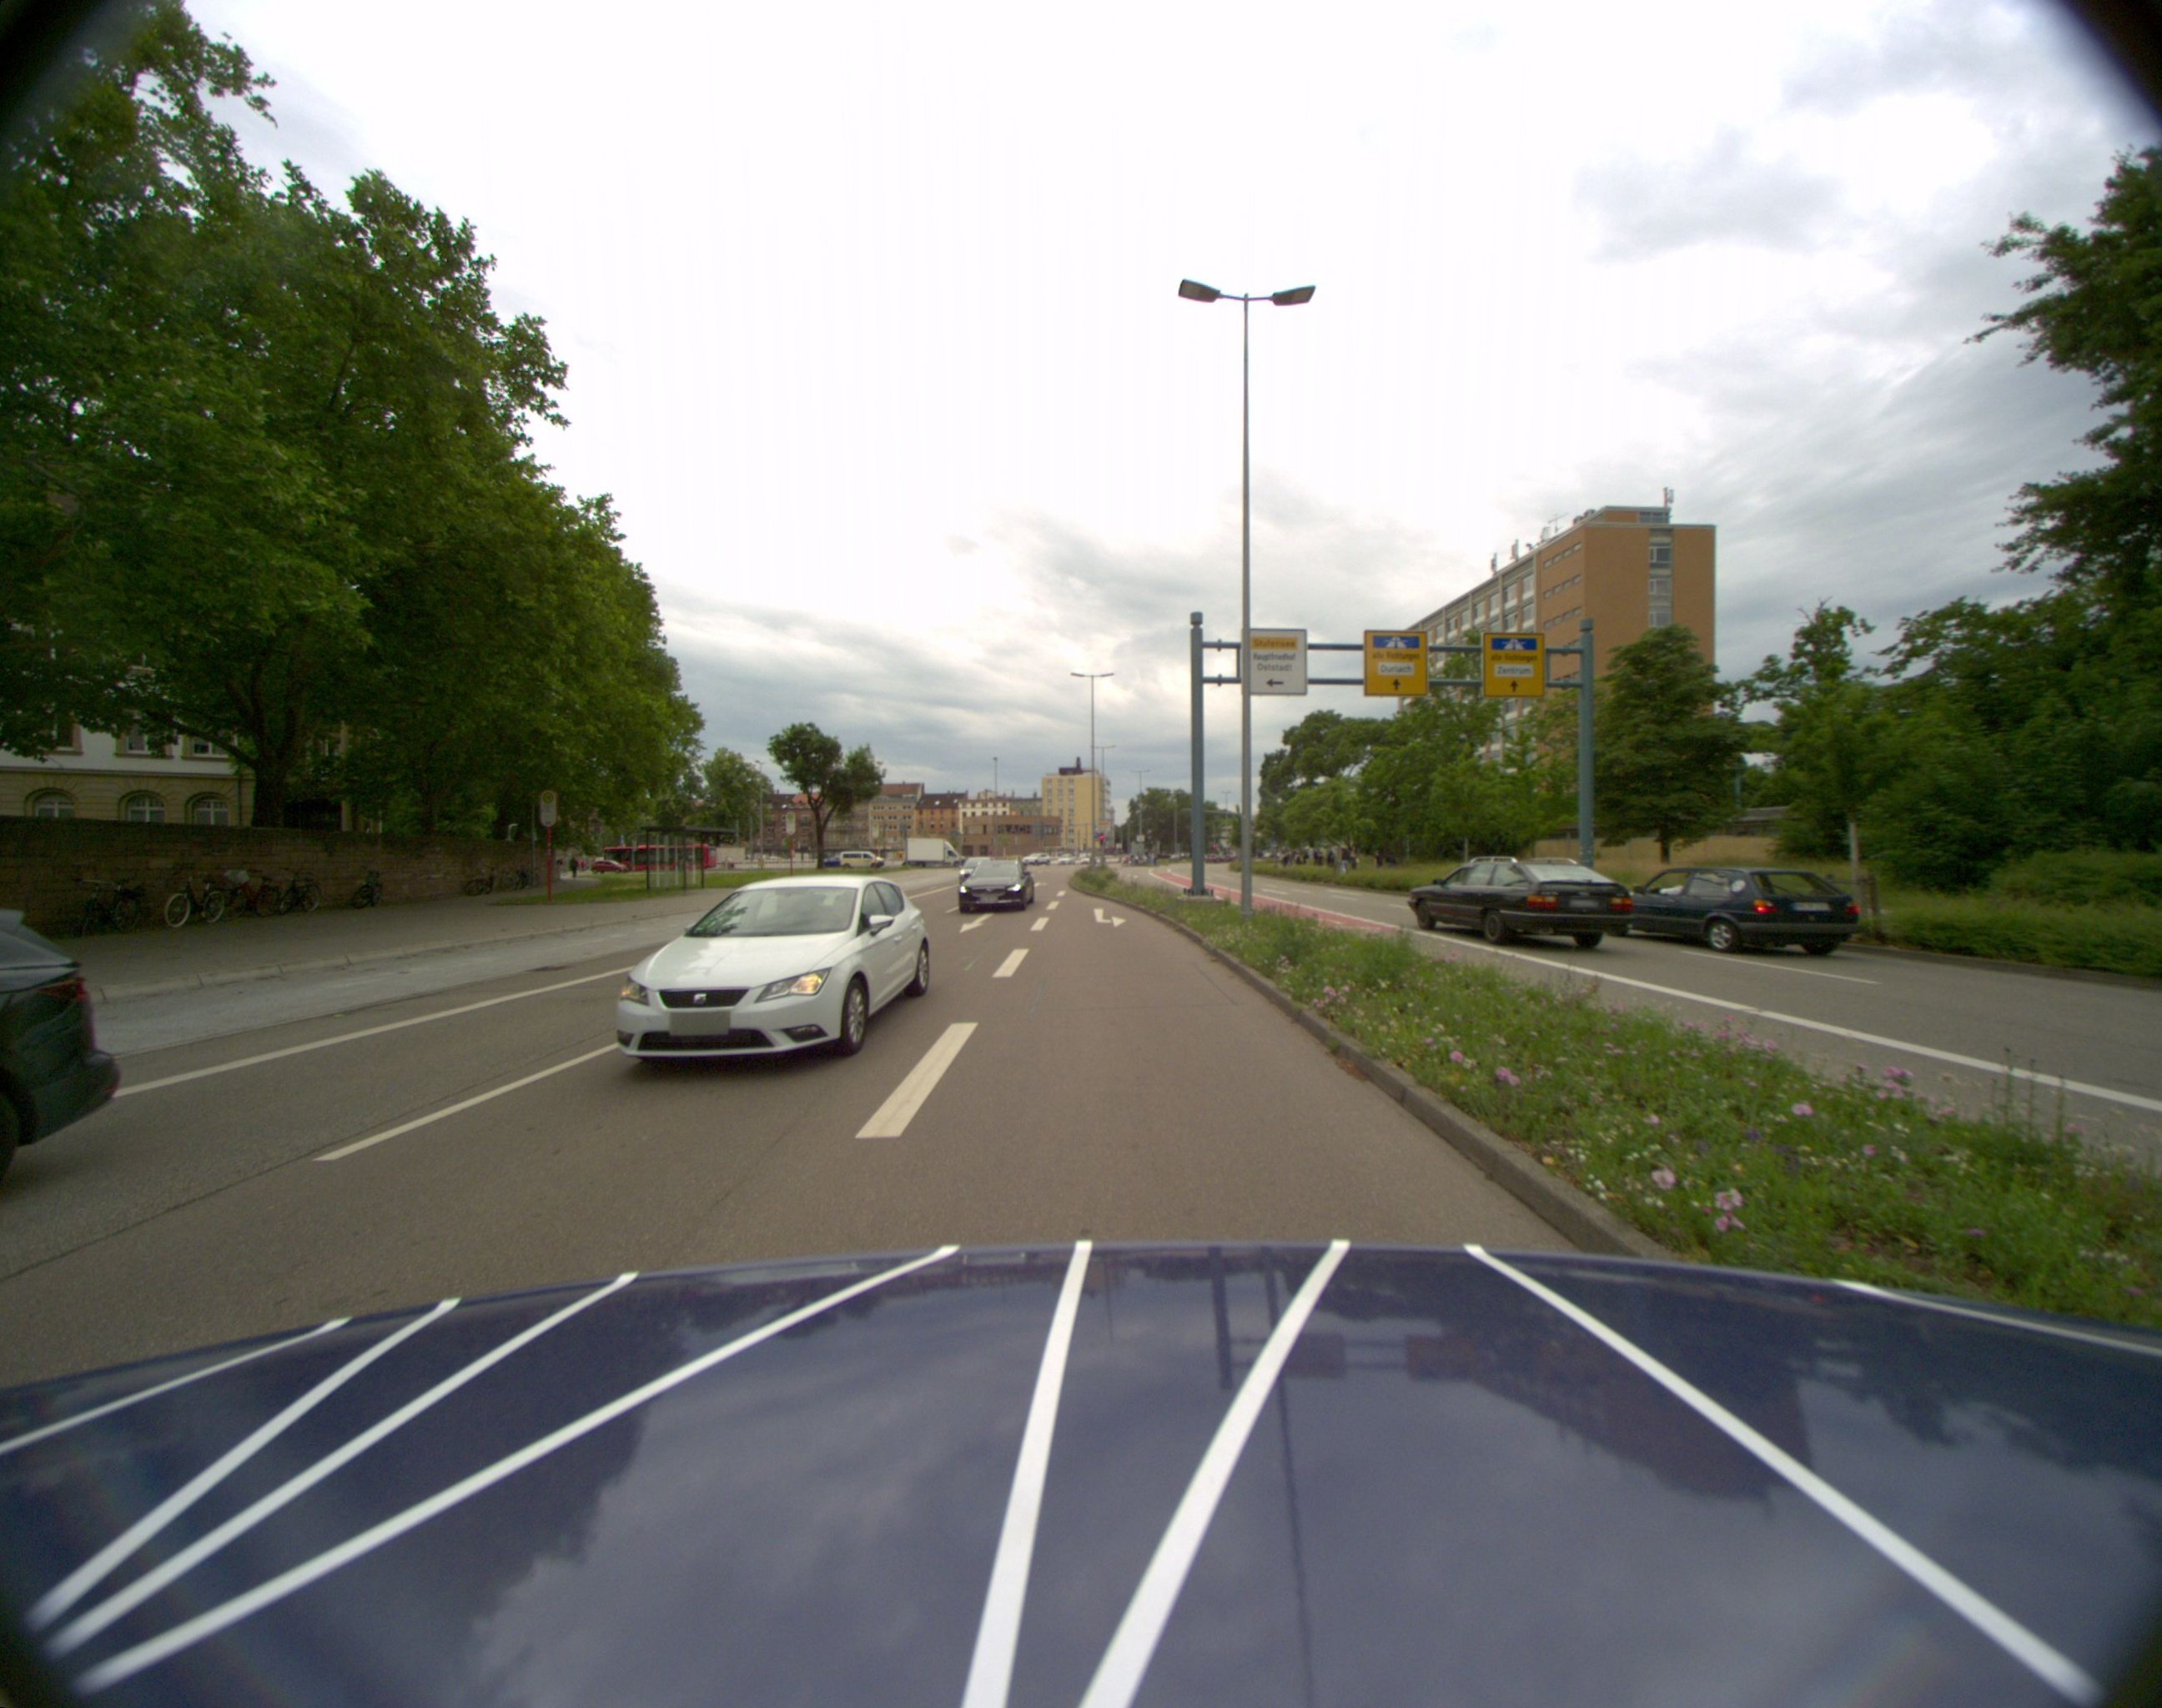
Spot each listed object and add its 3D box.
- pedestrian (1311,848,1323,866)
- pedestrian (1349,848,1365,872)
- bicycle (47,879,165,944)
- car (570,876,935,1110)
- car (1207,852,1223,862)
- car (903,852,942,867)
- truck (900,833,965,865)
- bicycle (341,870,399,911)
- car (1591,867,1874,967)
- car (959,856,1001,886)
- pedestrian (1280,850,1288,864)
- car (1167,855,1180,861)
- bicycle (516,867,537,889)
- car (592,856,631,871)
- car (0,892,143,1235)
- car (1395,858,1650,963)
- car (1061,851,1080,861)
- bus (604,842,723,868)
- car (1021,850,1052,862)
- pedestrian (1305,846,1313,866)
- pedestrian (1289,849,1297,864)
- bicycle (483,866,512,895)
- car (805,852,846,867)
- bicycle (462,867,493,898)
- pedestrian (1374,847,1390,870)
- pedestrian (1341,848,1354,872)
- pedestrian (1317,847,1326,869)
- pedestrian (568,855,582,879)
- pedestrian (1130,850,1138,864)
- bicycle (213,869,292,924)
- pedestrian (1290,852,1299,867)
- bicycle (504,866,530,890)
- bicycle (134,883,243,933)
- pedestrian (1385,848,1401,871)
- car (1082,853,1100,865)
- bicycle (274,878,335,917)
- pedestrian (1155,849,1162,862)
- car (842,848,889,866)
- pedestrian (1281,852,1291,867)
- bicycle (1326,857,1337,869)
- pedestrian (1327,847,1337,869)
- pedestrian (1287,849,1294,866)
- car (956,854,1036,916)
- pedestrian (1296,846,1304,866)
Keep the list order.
[{"bbox_3d":[21.499,0.288,69.190,0.635,1.603,0.829,-2,0,-21],"label":"pedestrian"},{"bbox_3d":[18.852,0.417,51.885,0.709,1.663,0.767,1,0,-5],"label":"pedestrian"},{"bbox_3d":[-18.445,1.057,14.429,0.722,1.093,1.788,1,0,-28],"label":"bicycle"},{"bbox_3d":[-2.663,1.032,7.252,1.786,1.454,3.870,-2,0,0],"label":"car"},{"bbox_3d":[22.953,0.460,130.162,1.812,1.657,3.955,1,1,23],"label":"car"},{"bbox_3d":[-18.473,0.608,88.946,4.285,1.628,1.689,1,0,-5],"label":"car"},{"bbox_3d":[-16.651,-0.583,85.650,6.852,3.393,2.559,-1,2,-5],"label":"truck"},{"bbox_3d":[-20.472,1.039,21.902,0.599,1.098,1.652,1,0,-19],"label":"bicycle"},{"bbox_3d":[10.813,0.955,13.027,1.612,1.373,3.808,1,0,1],"label":"car"},{"bbox_3d":[-5.257,0.857,39.892,1.671,1.457,3.659,-1,1,0],"label":"car"},{"bbox_3d":[23.305,0.329,87.045,0.708,1.661,0.943,-1,0,4],"label":"pedestrian"},{"bbox_3d":[19.233,0.786,157.830,1.782,1.255,3.536,-1,1,19],"label":"car"},{"bbox_3d":[-26.359,1.154,36.141,0.552,0.986,1.633,1,0,-28],"label":"bicycle"},{"bbox_3d":[-51.828,1.045,83.929,3.431,1.372,1.288,-1,-7,-5],"label":"car"},{"bbox_3d":[-6.156,1.066,1.932,1.912,1.615,4.490,-2,0,0],"label":"car"},{"bbox_3d":[7.556,0.852,13.705,1.768,1.452,4.791,1,1,0],"label":"car"},{"bbox_3d":[-1.487,0.304,106.426,1.515,1.382,3.437,1,0,19],"label":"car"},{"bbox_3d":[-48.778,0.112,88.999,12.091,2.891,2.937,-1,0,-3],"label":"bus"},{"bbox_3d":[-5.666,0.262,97.337,1.815,1.466,4.041,1,0,37],"label":"car"},{"bbox_3d":[19.800,0.147,66.034,0.579,1.702,0.763,1,0,16],"label":"pedestrian"},{"bbox_3d":[24.289,0.295,86.970,0.708,1.661,0.890,-2,0,4],"label":"pedestrian"},{"bbox_3d":[-24.160,1.078,31.492,0.596,1.123,1.709,1,0,-25],"label":"bicycle"},{"bbox_3d":[-30.158,0.624,89.776,4.432,1.735,1.763,1,0,-9],"label":"car"},{"bbox_3d":[-23.661,1.098,29.813,0.596,1.129,1.709,1,0,-25],"label":"bicycle"},{"bbox_3d":[17.846,0.286,45.009,0.646,1.350,0.711,1,0,-1],"label":"pedestrian"},{"bbox_3d":[18.155,0.403,51.805,0.587,1.650,0.720,1,0,-5],"label":"pedestrian"},{"bbox_3d":[18.022,0.292,57.004,0.575,1.599,0.617,1,0,16],"label":"pedestrian"},{"bbox_3d":[-36.710,0.912,55.163,0.759,1.725,0.820,1,1,-39],"label":"pedestrian"},{"bbox_3d":[6.918,0.349,99.759,0.917,1.794,0.541,1,0,17],"label":"pedestrian"},{"bbox_3d":[-19.574,0.973,17.992,0.501,1.214,1.624,1,0,-17],"label":"bicycle"},{"bbox_3d":[20.386,0.528,72.531,0.637,1.471,0.762,1,0,4],"label":"pedestrian"},{"bbox_3d":[-25.647,1.091,34.570,0.596,1.053,1.709,1,0,-25],"label":"bicycle"},{"bbox_3d":[-19.025,1.131,16.254,0.656,0.945,1.767,1,0,-17],"label":"bicycle"},{"bbox_3d":[18.512,0.307,45.100,0.646,1.354,0.680,1,0,-2],"label":"pedestrian"},{"bbox_3d":[1.570,0.719,117.601,1.836,1.753,3.916,1,0,17],"label":"car"},{"bbox_3d":[-20.084,1.110,19.677,0.417,0.937,1.523,1,0,-17],"label":"bicycle"},{"bbox_3d":[10.197,0.223,100.052,0.777,1.657,0.706,1,0,-8],"label":"pedestrian"},{"bbox_3d":[-24.124,0.339,85.062,4.712,1.909,1.919,-1,3,-3],"label":"car"},{"bbox_3d":[19.598,0.505,72.536,0.730,1.471,0.813,1,0,4],"label":"pedestrian"},{"bbox_3d":[18.739,0.696,56.825,0.661,0.882,1.717,1,0,16],"label":"bicycle"},{"bbox_3d":[18.757,0.294,56.865,0.661,1.622,0.764,1,0,16],"label":"pedestrian"},{"bbox_3d":[22.805,0.374,82.771,0.638,1.790,0.762,-1,0,4],"label":"pedestrian"},{"bbox_3d":[-2.457,0.860,23.051,1.888,1.591,4.446,-2,0,-1],"label":"car"},{"bbox_3d":[19.042,0.159,66.161,0.622,1.685,0.747,1,0,15],"label":"pedestrian"}]
